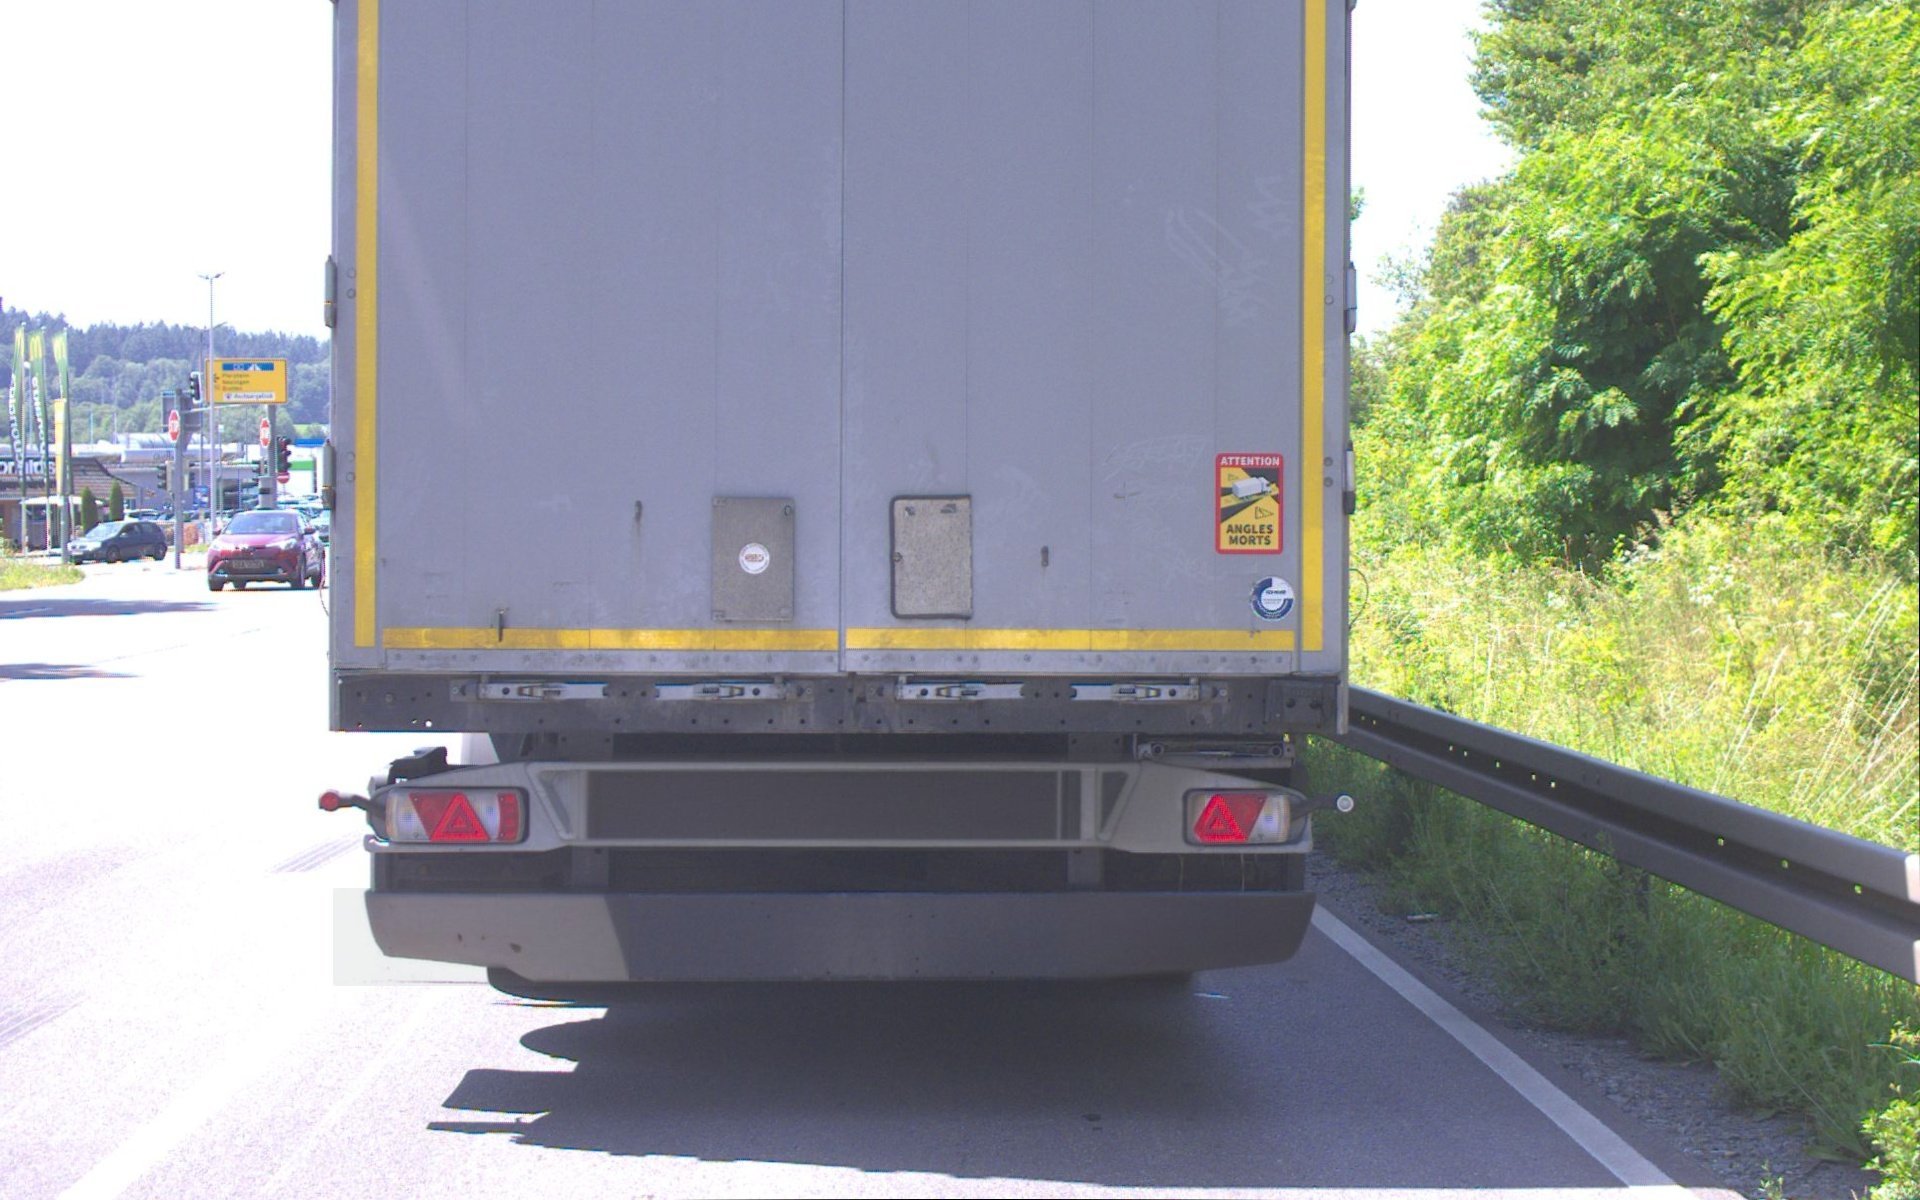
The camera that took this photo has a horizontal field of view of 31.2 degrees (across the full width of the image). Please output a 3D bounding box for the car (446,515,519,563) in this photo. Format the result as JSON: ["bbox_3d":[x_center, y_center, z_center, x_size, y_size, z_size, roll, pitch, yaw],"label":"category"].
[{"bbox_3d":[-14.394,-1.840,103.745,1.766,1.381,4.000,1,1,-2],"label":"car"}]

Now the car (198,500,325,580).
[{"bbox_3d":[-13.559,-1.185,66.895,1.903,1.503,3.765,0,1,-3],"label":"car"}]

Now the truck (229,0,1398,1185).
[{"bbox_3d":[-0.434,-1.017,16.600,2.755,4.623,16.656,1,1,-1],"label":"truck"}]

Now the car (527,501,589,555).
[{"bbox_3d":[-13.453,-2.413,115.182,1.720,1.747,3.857,0,1,-2],"label":"car"}]

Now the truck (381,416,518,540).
[{"bbox_3d":[-18.310,-4.314,124.495,2.968,4.162,16.577,0,1,-2],"label":"truck"}]

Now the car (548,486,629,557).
[{"bbox_3d":[-10.816,-2.291,100.356,1.993,2.007,4.000,1,1,-1],"label":"car"}]
